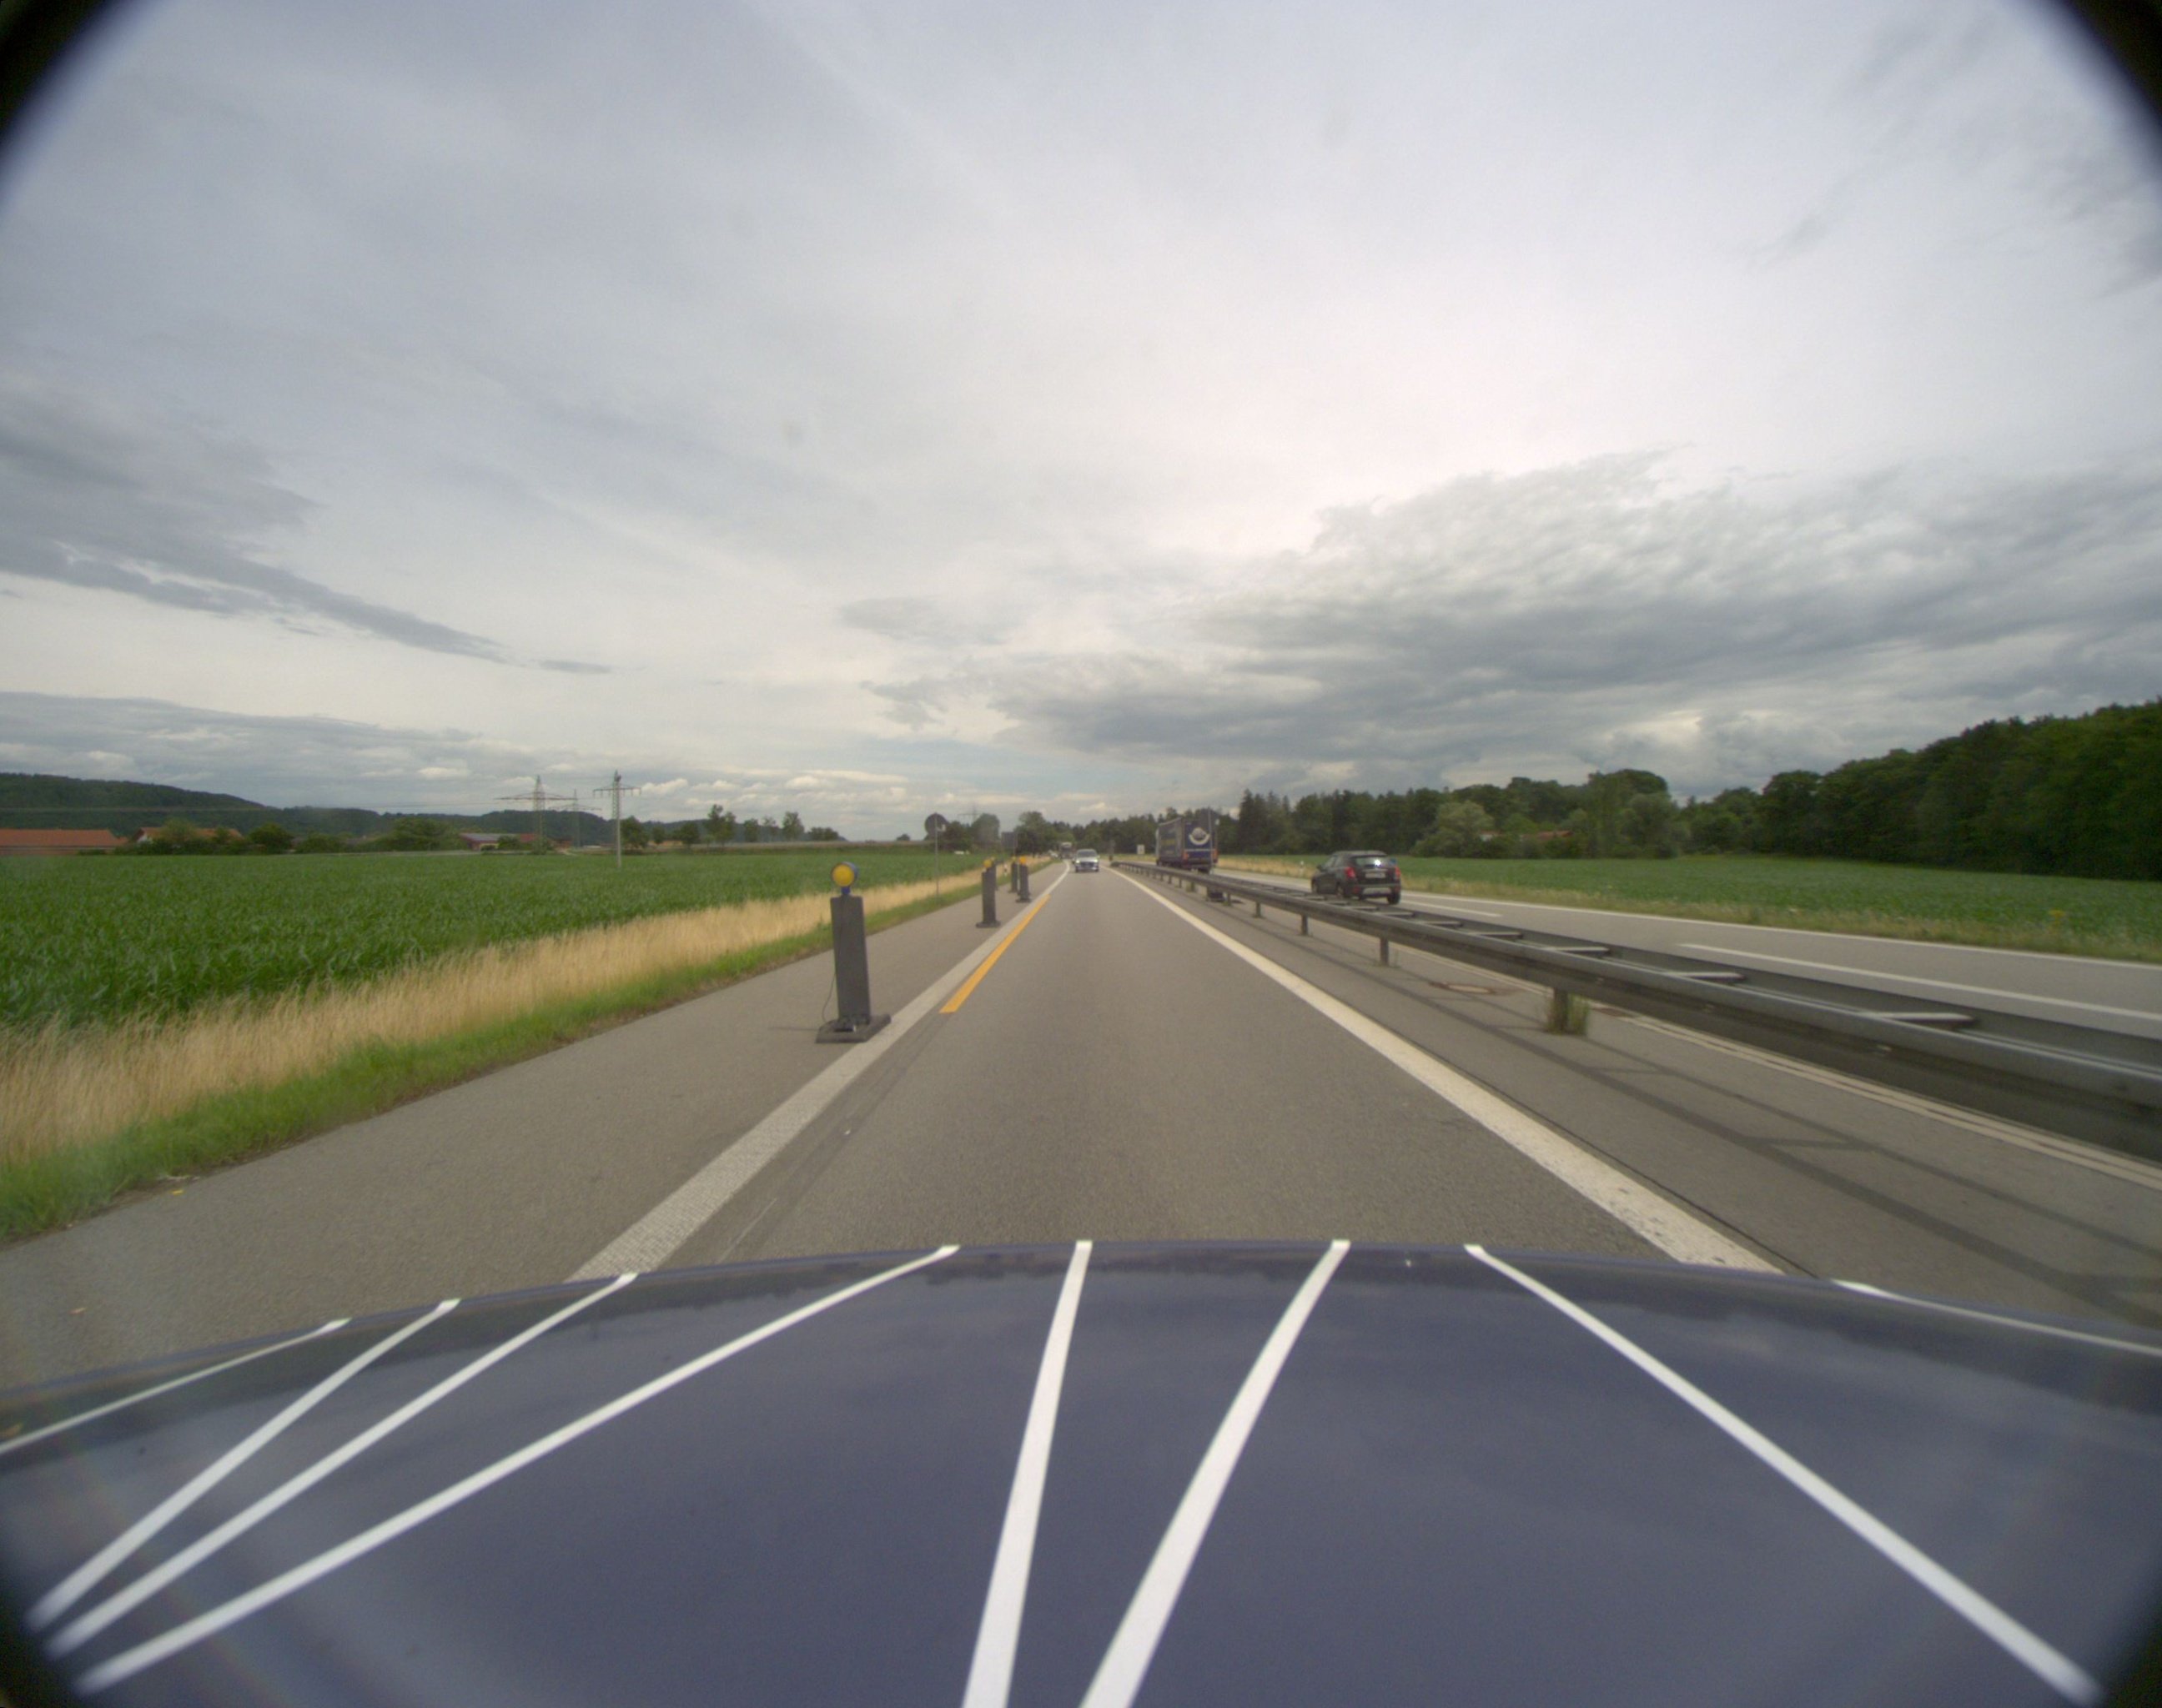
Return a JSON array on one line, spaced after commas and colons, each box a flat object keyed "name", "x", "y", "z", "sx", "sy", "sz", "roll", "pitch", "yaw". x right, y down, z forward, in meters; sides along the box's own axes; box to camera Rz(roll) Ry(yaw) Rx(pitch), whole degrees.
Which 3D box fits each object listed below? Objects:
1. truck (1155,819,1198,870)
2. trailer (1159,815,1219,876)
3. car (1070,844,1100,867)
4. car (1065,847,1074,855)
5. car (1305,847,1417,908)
[{"name": "truck", "x": 8.299, "y": -0.874, "z": 66.591, "sx": 2.806, "sy": 4.118, "sz": 7.227, "roll": -2, "pitch": 1, "yaw": 1}, {"name": "trailer", "x": 8.195, "y": -0.733, "z": 59.659, "sx": 2.806, "sy": 4.149, "sz": 13.561, "roll": -2, "pitch": 1, "yaw": 1}, {"name": "car", "x": 0.313, "y": 0.089, "z": 63.288, "sx": 1.924, "sy": 1.823, "sz": 3.997, "roll": -2, "pitch": 1, "yaw": -7}, {"name": "car", "x": -2.810, "y": -0.817, "z": 190.855, "sx": 1.998, "sy": 2.002, "sz": 4.000, "roll": -2, "pitch": 1, "yaw": 2}, {"name": "car", "x": 8.791, "y": 0.658, "z": 24.286, "sx": 1.998, "sy": 1.674, "sz": 4.233, "roll": -2, "pitch": 1, "yaw": 0}]
